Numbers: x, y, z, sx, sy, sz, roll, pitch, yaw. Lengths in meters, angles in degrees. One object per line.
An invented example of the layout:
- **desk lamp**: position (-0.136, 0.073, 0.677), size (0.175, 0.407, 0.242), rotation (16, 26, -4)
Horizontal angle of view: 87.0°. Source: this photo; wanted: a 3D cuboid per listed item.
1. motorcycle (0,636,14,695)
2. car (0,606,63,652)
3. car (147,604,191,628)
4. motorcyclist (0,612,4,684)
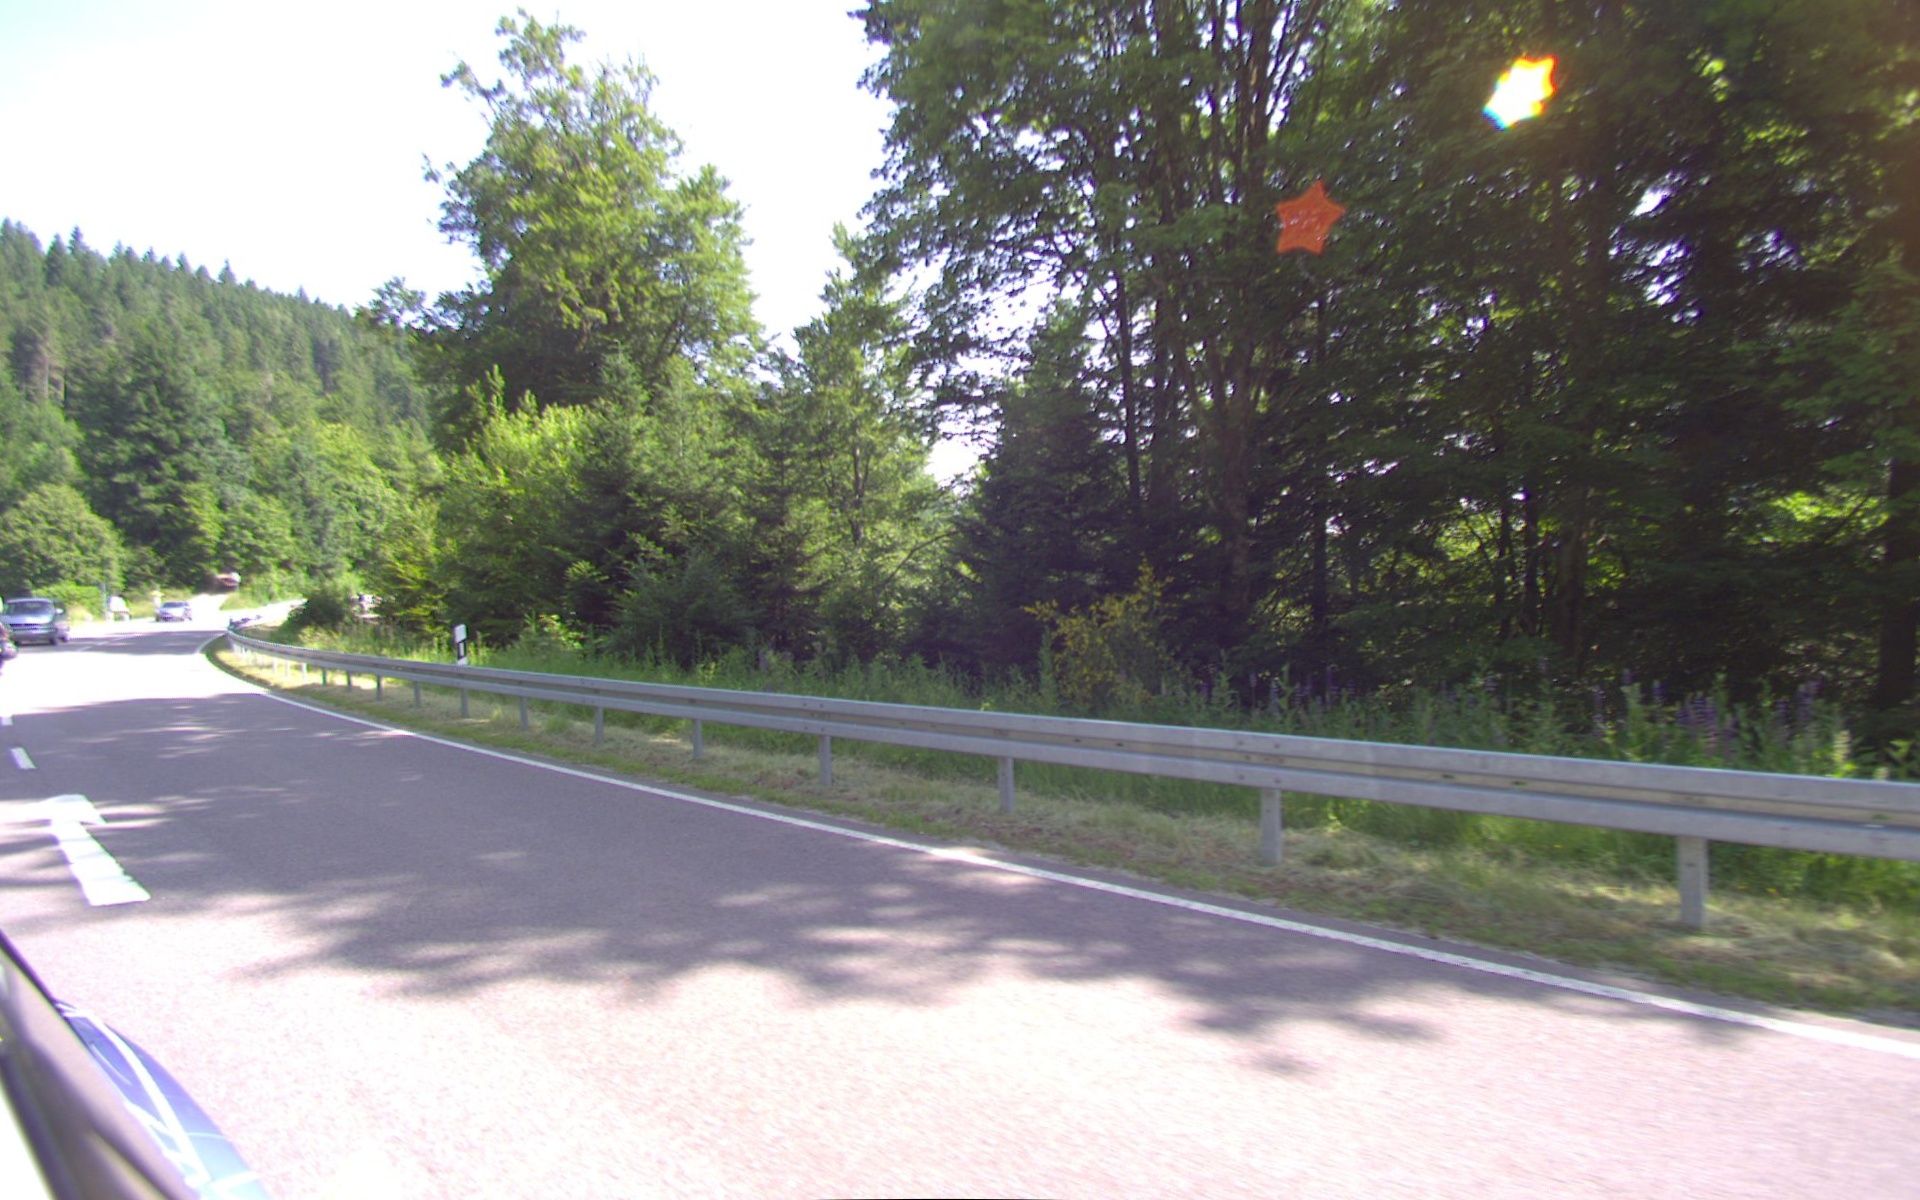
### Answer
- **motorcycle**: position (-19.781, 1.315, 20.337), size (1.093, 1.132, 1.963), rotation (0, -1, -42)
- **car**: position (-38.012, 1.148, 41.395), size (1.627, 1.773, 3.803), rotation (0, -1, -37)
- **car**: position (-56.536, 1.117, 72.378), size (1.966, 1.655, 4.012), rotation (-1, 1, -31)
- **motorcyclist**: position (-19.691, 0.970, 20.263), size (0.706, 1.441, 1.000), rotation (-3, 1, -41)
